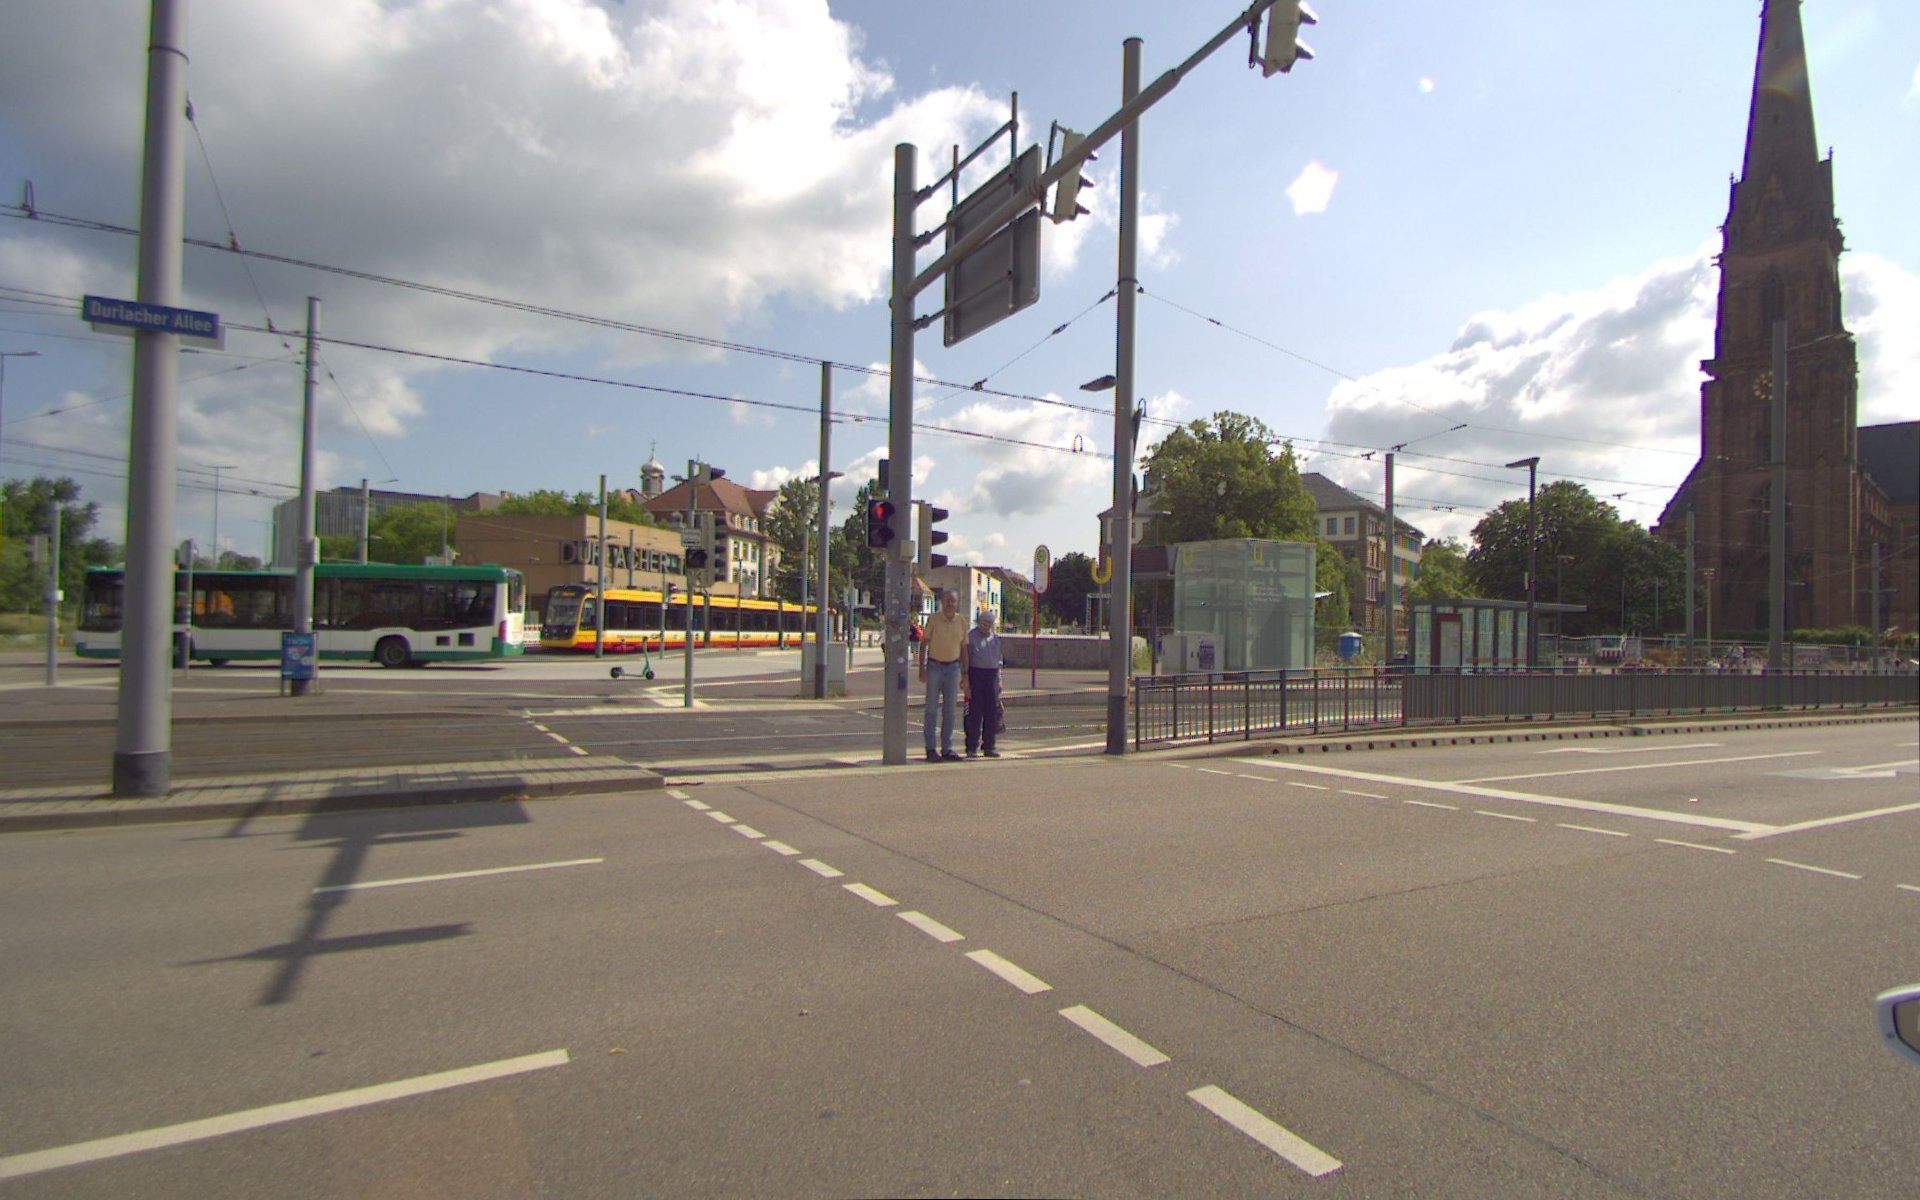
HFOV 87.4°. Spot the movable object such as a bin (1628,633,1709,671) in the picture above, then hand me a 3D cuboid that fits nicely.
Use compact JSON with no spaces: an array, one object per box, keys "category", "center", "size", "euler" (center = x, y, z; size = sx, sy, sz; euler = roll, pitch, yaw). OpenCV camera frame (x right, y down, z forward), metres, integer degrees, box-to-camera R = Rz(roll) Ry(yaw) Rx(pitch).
[{"category":"movable object such as a bin","center":[58.182,4.258,82.570],"size":[1.982,2.949,5.101],"euler":[3,-2,-37]}]

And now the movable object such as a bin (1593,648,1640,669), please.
[{"category":"movable object such as a bin","center":[51.094,4.521,78.131],"size":[5.119,1.522,1.975],"euler":[3,-2,-43]}]

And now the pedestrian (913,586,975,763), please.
[{"category":"pedestrian","center":[-0.191,0.866,11.941],"size":[0.574,2.040,0.422],"euler":[2,-2,-42]}]

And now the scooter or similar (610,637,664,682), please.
[{"category":"scooter or similar","center":[-8.801,1.612,27.376],"size":[1.159,1.182,0.803],"euler":[3,-2,-40]}]

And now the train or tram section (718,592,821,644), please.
[{"category":"train or tram section","center":[-13.656,1.276,73.234],"size":[3.257,3.527,10.614],"euler":[-1,0,14]}]

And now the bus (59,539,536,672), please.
[{"category":"bus","center":[-20.234,0.298,31.688],"size":[12.162,3.668,2.909],"euler":[2,-2,-13]}]

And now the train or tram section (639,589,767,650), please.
[{"category":"train or tram section","center":[-15.969,1.208,63.602],"size":[3.257,3.527,10.614],"euler":[-1,0,14]}]

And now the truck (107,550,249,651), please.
[{"category":"truck","center":[-34.708,0.115,44.982],"size":[2.796,4.061,8.030],"euler":[2,-2,-22]}]

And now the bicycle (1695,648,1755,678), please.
[{"category":"bicycle","center":[37.954,3.123,49.811],"size":[3.653,1.445,1.187],"euler":[3,-2,-33]}]

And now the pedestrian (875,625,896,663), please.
[{"category":"pedestrian","center":[-3.364,1.981,45.456],"size":[0.766,1.694,0.721],"euler":[1,-1,9]}]

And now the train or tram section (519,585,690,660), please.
[{"category":"train or tram section","center":[-18.462,1.120,53.293],"size":[3.257,3.527,10.614],"euler":[-1,0,14]}]

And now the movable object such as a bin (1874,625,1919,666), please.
[{"category":"movable object such as a bin","center":[75.970,3.671,81.084],"size":[3.947,3.147,1.987],"euler":[0,0,-26]}]

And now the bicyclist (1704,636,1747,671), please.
[{"category":"bicyclist","center":[37.961,2.639,49.812],"size":[1.666,1.706,1.171],"euler":[2,-2,-32]}]

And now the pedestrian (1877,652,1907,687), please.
[{"category":"pedestrian","center":[56.840,4.233,61.262],"size":[1.037,2.040,1.062],"euler":[2,-2,-27]}]

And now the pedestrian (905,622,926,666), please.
[{"category":"pedestrian","center":[-1.885,1.864,42.389],"size":[0.706,1.817,0.563],"euler":[1,-1,12]}]

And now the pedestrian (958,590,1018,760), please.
[{"category":"pedestrian","center":[0.344,0.915,12.491],"size":[0.512,2.040,0.497],"euler":[2,-2,-42]}]
